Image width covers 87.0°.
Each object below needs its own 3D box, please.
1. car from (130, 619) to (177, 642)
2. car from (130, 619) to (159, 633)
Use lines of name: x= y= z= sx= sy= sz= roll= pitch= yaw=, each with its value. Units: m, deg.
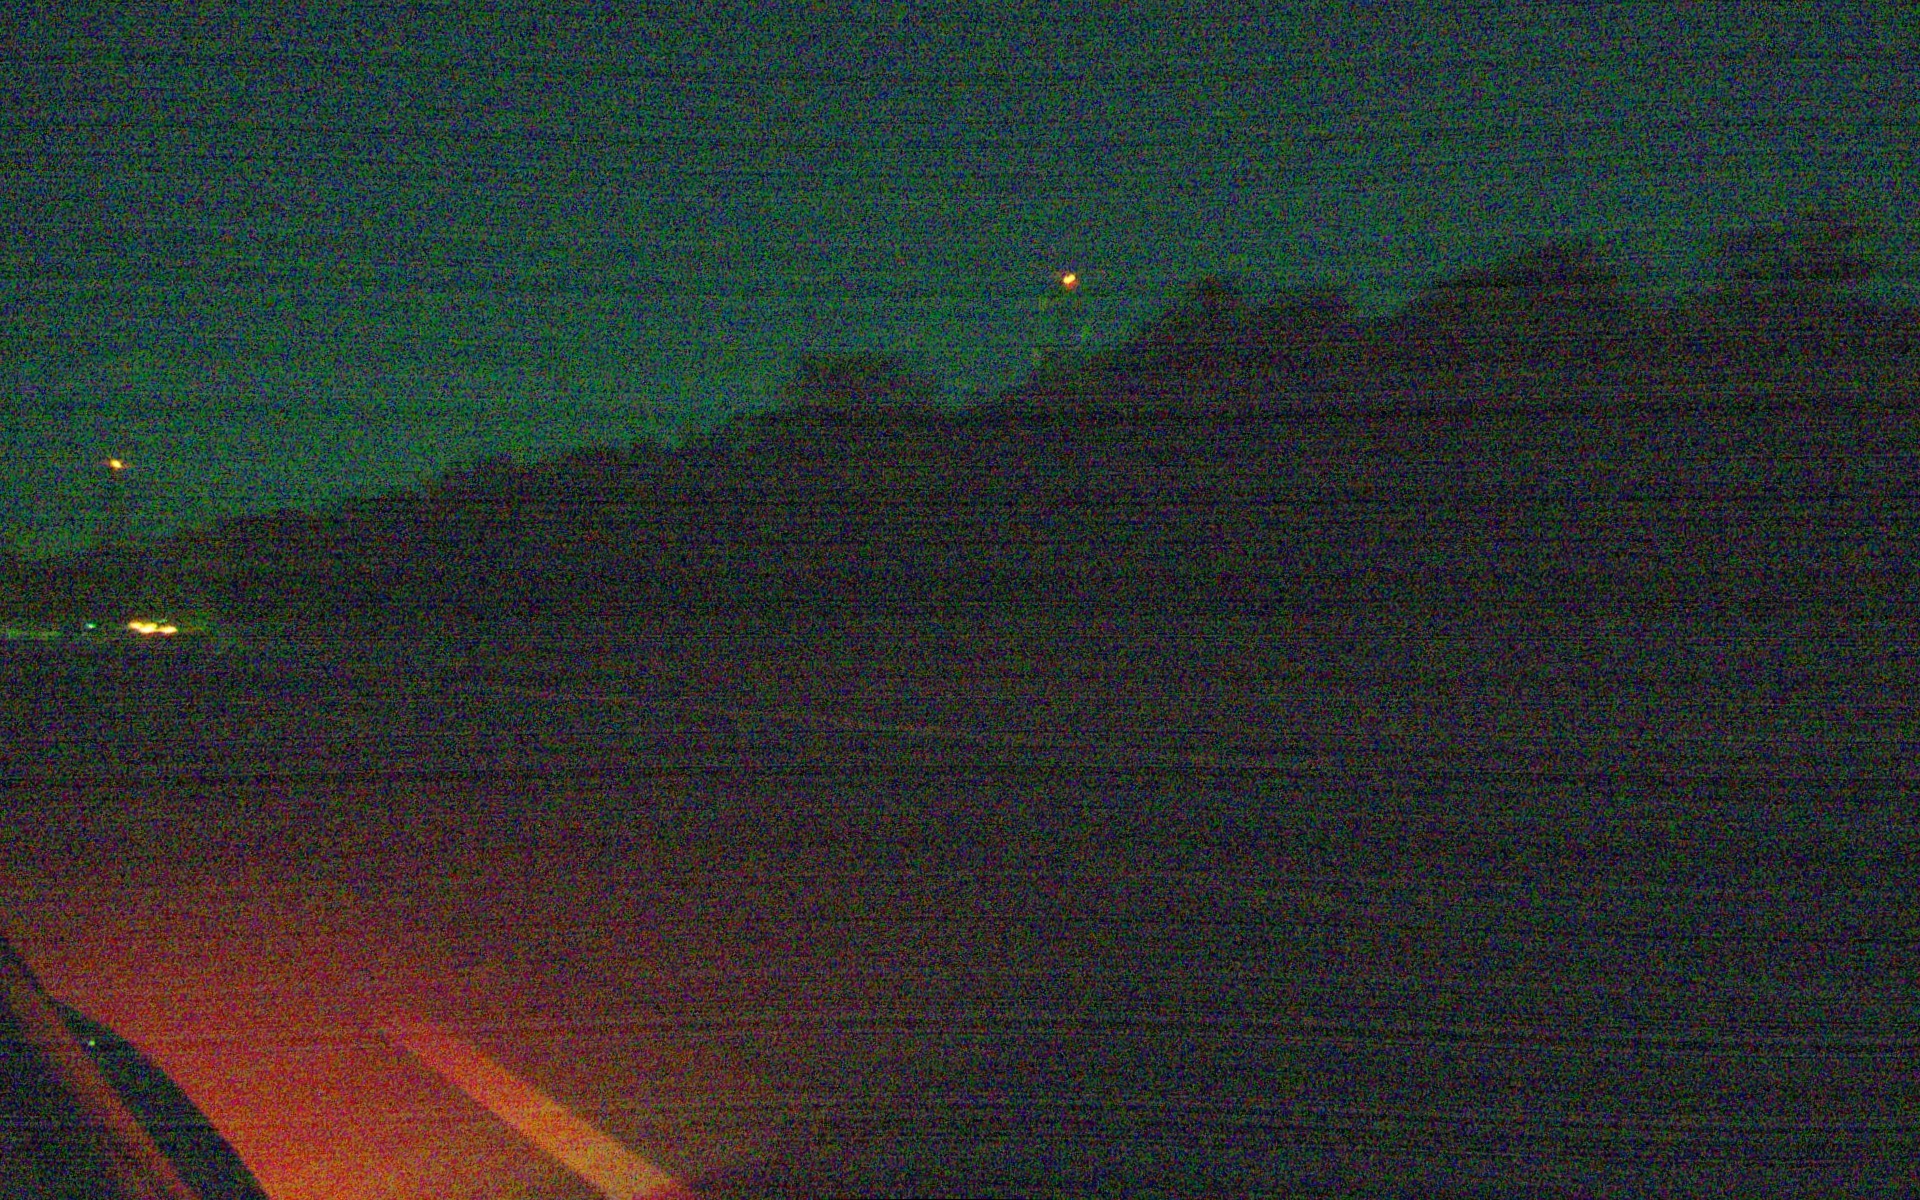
car: x=-63.207 y=2.341 z=79.278 sx=5.107 sy=1.663 sz=1.988 roll=0 pitch=0 yaw=41
car: x=-88.591 y=2.793 z=109.916 sx=3.998 sy=1.490 sz=1.773 roll=0 pitch=0 yaw=41
